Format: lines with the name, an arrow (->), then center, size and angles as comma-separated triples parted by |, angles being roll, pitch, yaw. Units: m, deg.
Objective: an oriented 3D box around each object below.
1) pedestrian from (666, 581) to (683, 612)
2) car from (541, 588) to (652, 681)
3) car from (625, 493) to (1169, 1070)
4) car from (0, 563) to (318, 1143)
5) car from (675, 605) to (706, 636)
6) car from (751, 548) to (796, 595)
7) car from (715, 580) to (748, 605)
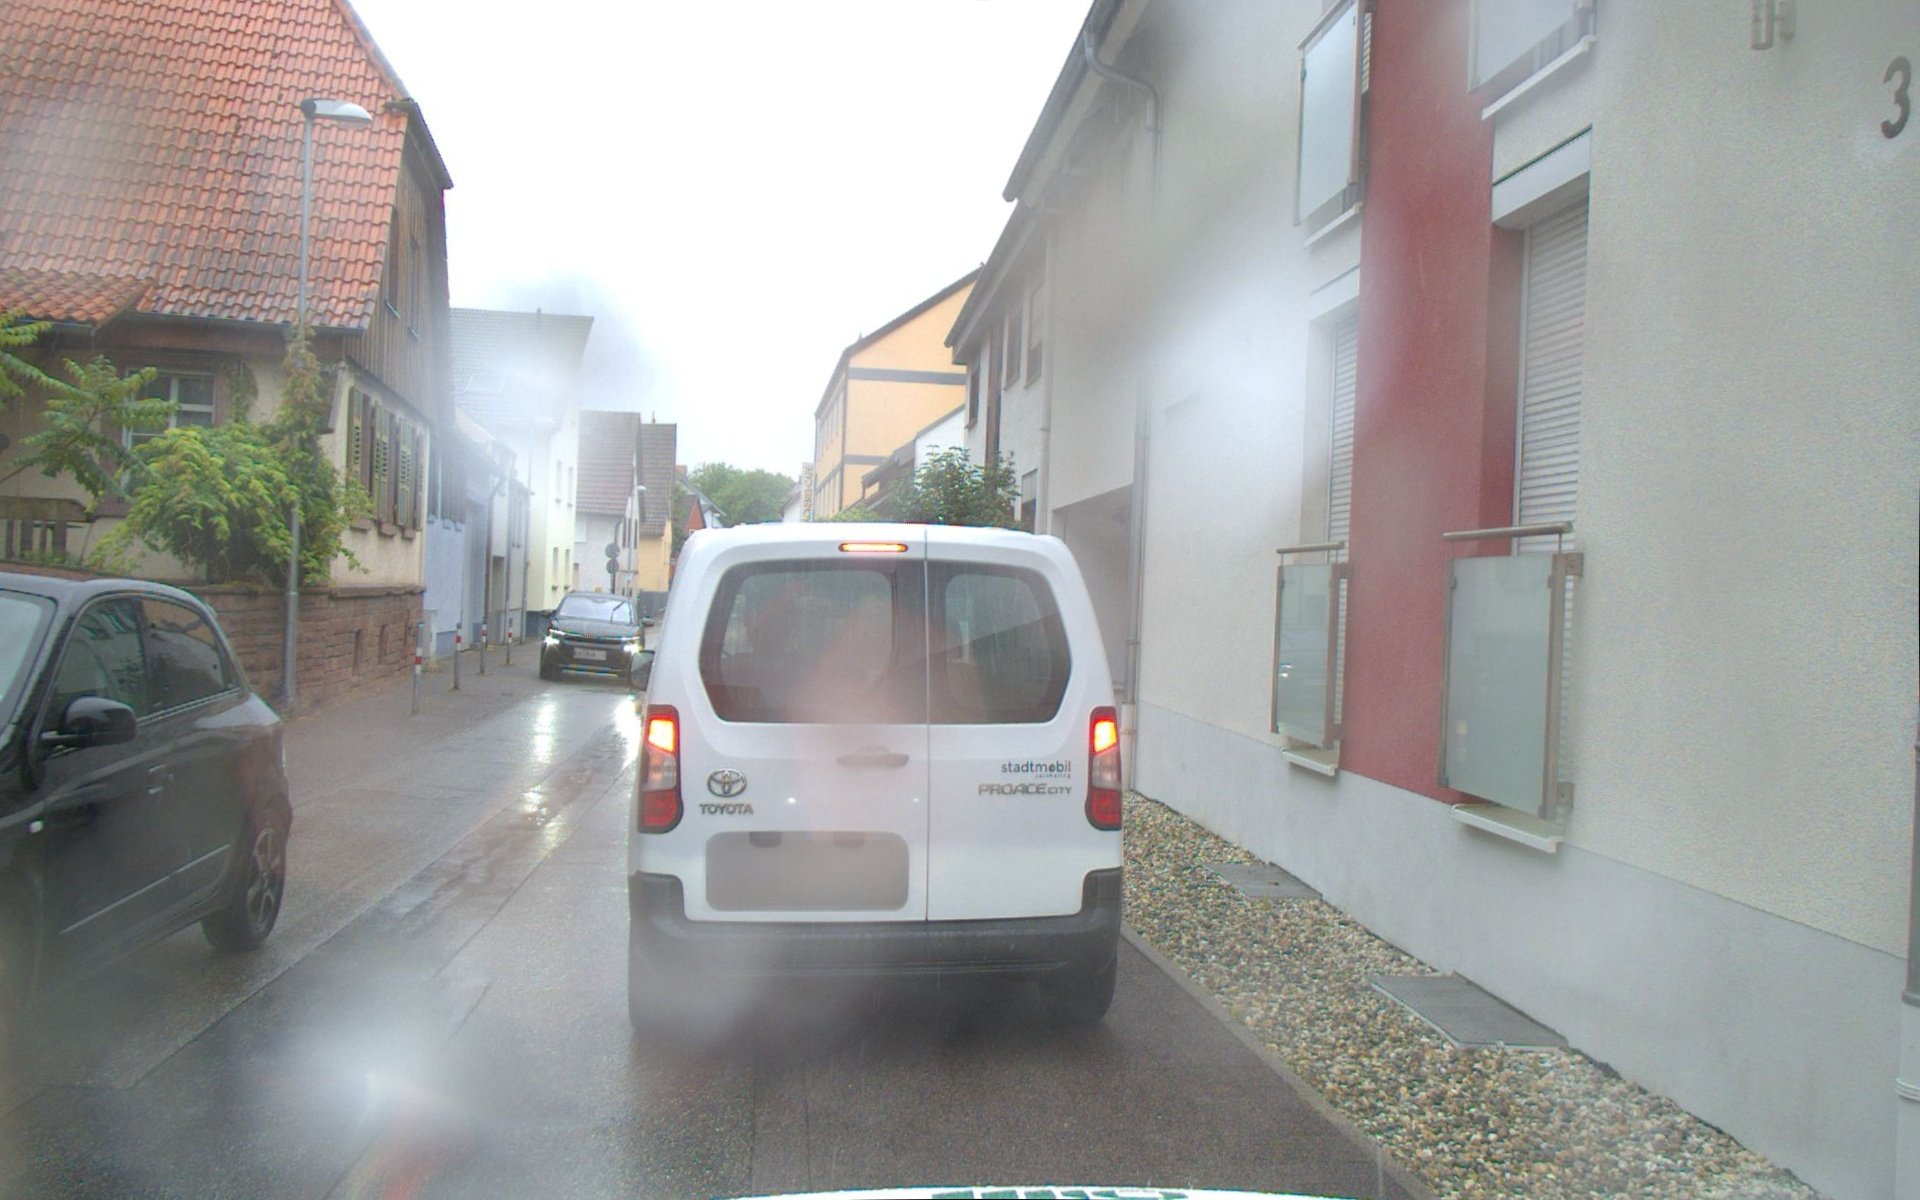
pedestrian -> -17.834, -0.218, 103.322 | 1.031, 1.926, 0.875 | 1, -1, -9
car -> -6.814, 0.608, 31.314 | 1.799, 1.583, 4.229 | 2, 0, -10
car -> -0.488, 0.587, 7.318 | 1.742, 1.811, 3.991 | 1, 0, -9
car -> -3.470, 0.638, 5.548 | 1.574, 1.539, 3.681 | 2, 0, -8
car -> -13.936, 1.053, 85.538 | 1.532, 1.503, 3.990 | 1, 0, -10
car -> -8.568, -1.304, 76.162 | 1.955, 2.049, 3.995 | 1, 0, -6
car -> -13.350, -0.411, 96.519 | 1.747, 1.419, 3.990 | 1, 0, -10
